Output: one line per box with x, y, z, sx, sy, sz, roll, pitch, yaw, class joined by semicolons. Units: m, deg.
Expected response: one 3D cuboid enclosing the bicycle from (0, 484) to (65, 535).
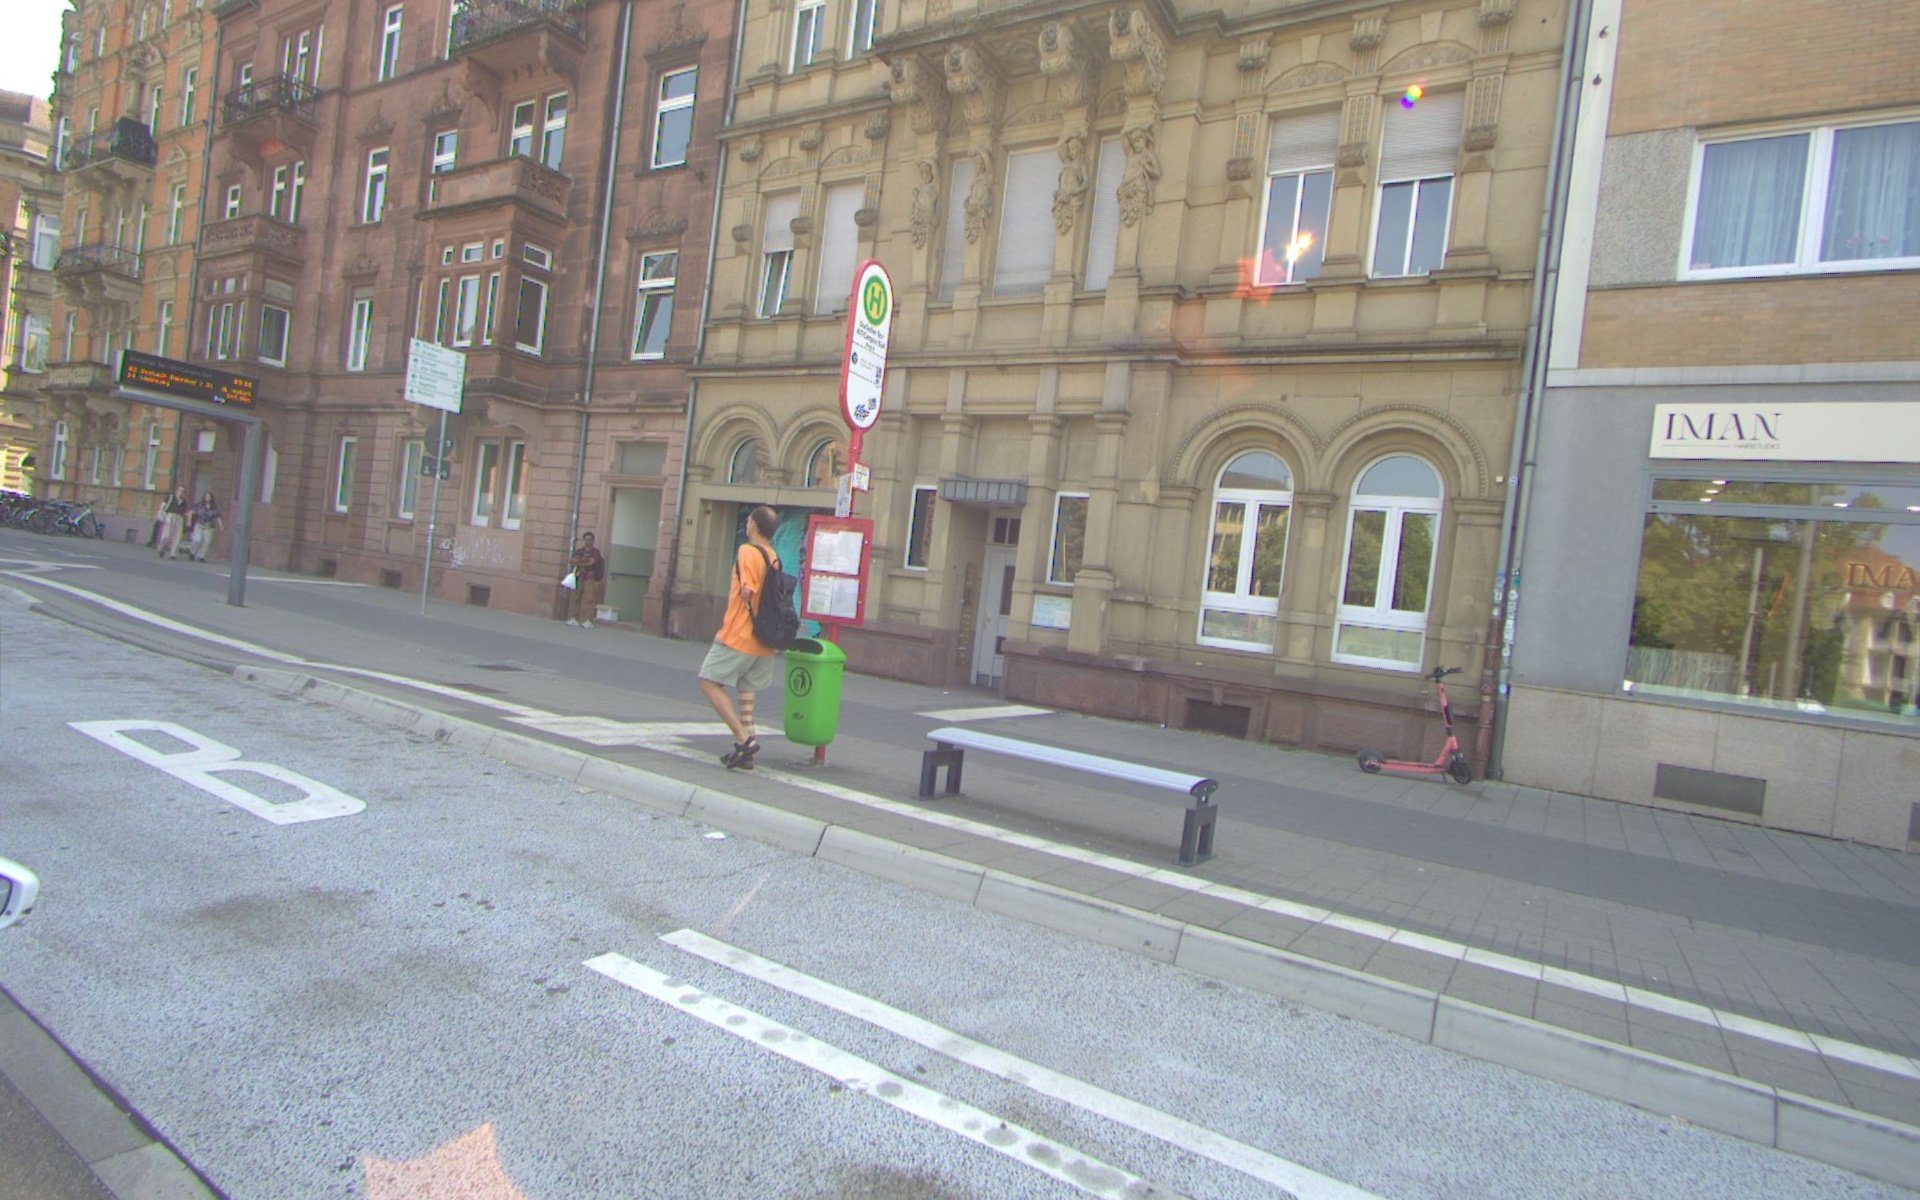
-30.205;-2.946;31.543;0.932;1.390;3.007;7;0;31;bicycle

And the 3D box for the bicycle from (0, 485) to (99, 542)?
-27.875;-2.629;30.102;0.857;1.388;2.997;7;0;31;bicycle

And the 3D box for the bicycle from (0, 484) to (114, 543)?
-27.070;-2.576;29.711;0.857;1.388;2.997;7;0;31;bicycle

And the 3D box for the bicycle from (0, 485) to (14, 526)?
-33.963;-3.387;33.771;0.932;1.390;3.007;7;0;31;bicycle

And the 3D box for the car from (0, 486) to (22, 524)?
-41.999;-4.229;41.857;1.652;1.539;3.942;7;0;24;car

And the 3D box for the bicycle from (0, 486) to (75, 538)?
-29.428;-2.800;31.054;0.857;1.388;2.997;7;0;31;bicycle

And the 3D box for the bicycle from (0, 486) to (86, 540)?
-28.655;-2.705;30.543;0.857;1.388;2.997;7;0;31;bicycle

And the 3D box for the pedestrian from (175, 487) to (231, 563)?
-19.164;-1.895;25.471;0.856;1.800;0.715;7;1;30;pedestrian

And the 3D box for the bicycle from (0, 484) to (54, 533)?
-31.106;-3.058;32.122;0.932;1.390;3.007;7;0;31;bicycle

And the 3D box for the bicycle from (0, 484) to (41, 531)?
-31.966;-3.150;32.613;0.932;1.390;3.007;7;0;31;bicycle

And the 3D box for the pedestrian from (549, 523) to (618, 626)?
-7.030;-0.454;18.811;0.729;1.800;0.870;7;1;4;pedestrian

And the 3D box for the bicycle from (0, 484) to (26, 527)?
-33.074;-3.313;33.264;0.932;1.390;3.007;7;0;31;bicycle

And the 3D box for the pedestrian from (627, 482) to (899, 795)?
-1.265;0.220;6.461;1.220;1.762;0.964;7;0;38;pedestrian

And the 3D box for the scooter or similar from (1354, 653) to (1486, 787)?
4.884;1.253;10.709;1.122;1.228;0.476;7;1;27;scooter or similar

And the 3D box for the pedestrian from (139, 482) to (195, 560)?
-19.614;-1.947;24.893;0.833;1.798;0.715;7;1;31;pedestrian
